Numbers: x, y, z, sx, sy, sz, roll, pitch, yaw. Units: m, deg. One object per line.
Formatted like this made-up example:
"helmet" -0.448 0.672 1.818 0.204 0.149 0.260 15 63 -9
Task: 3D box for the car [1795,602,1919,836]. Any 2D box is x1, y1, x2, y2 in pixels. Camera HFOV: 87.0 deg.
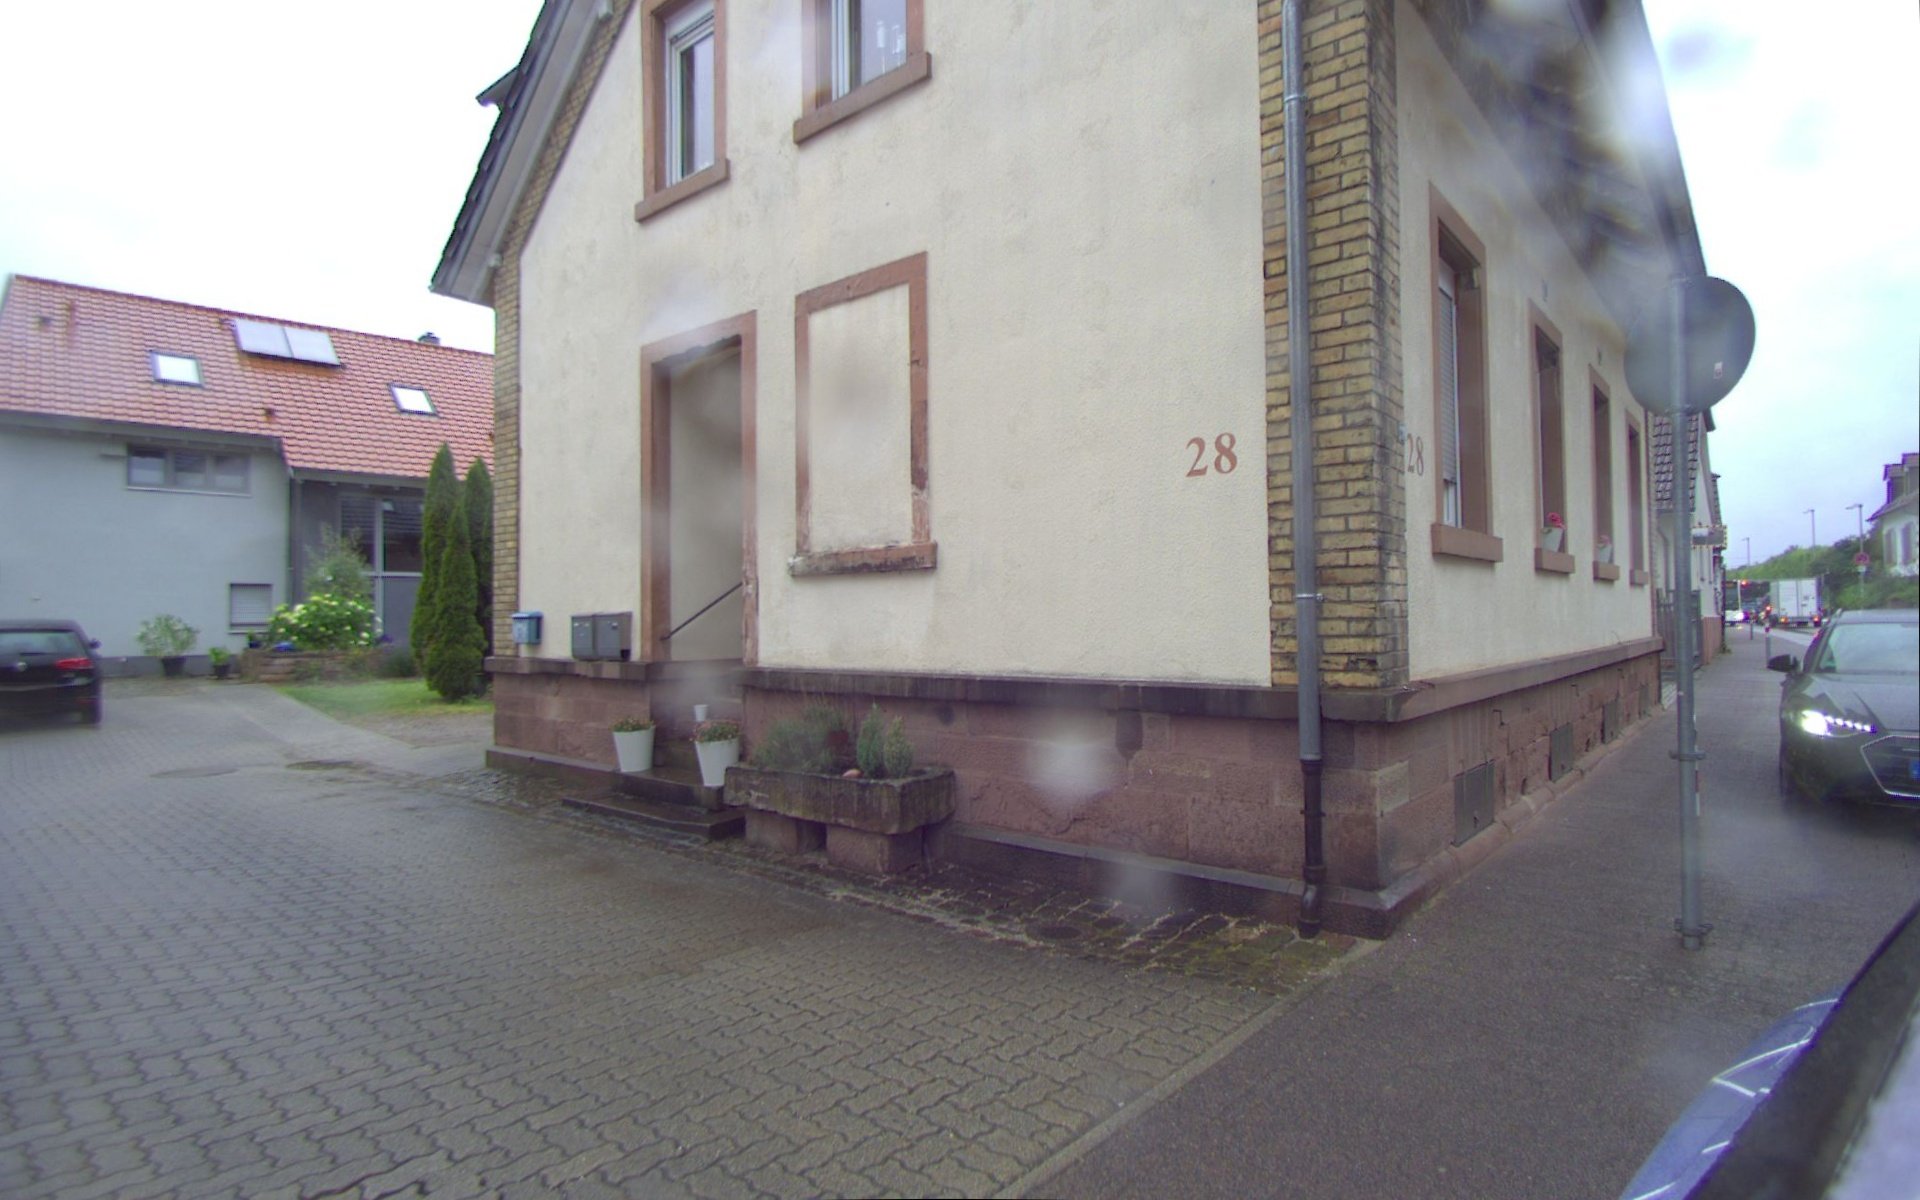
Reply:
"car" 7.370 0.729 7.538 1.732 1.388 4.044 0 0 39

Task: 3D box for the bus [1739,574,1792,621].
"bus" 61.213 -0.239 77.109 2.654 3.273 12.033 0 0 36

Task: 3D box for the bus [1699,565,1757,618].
"bus" 51.689 -0.567 68.297 2.653 3.273 12.038 0 0 35

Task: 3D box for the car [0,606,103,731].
"car" -13.944 0.931 15.106 1.656 1.491 3.993 0 2 -42

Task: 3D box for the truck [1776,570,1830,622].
"truck" 43.857 -0.220 52.720 1.990 2.536 5.572 0 0 38
